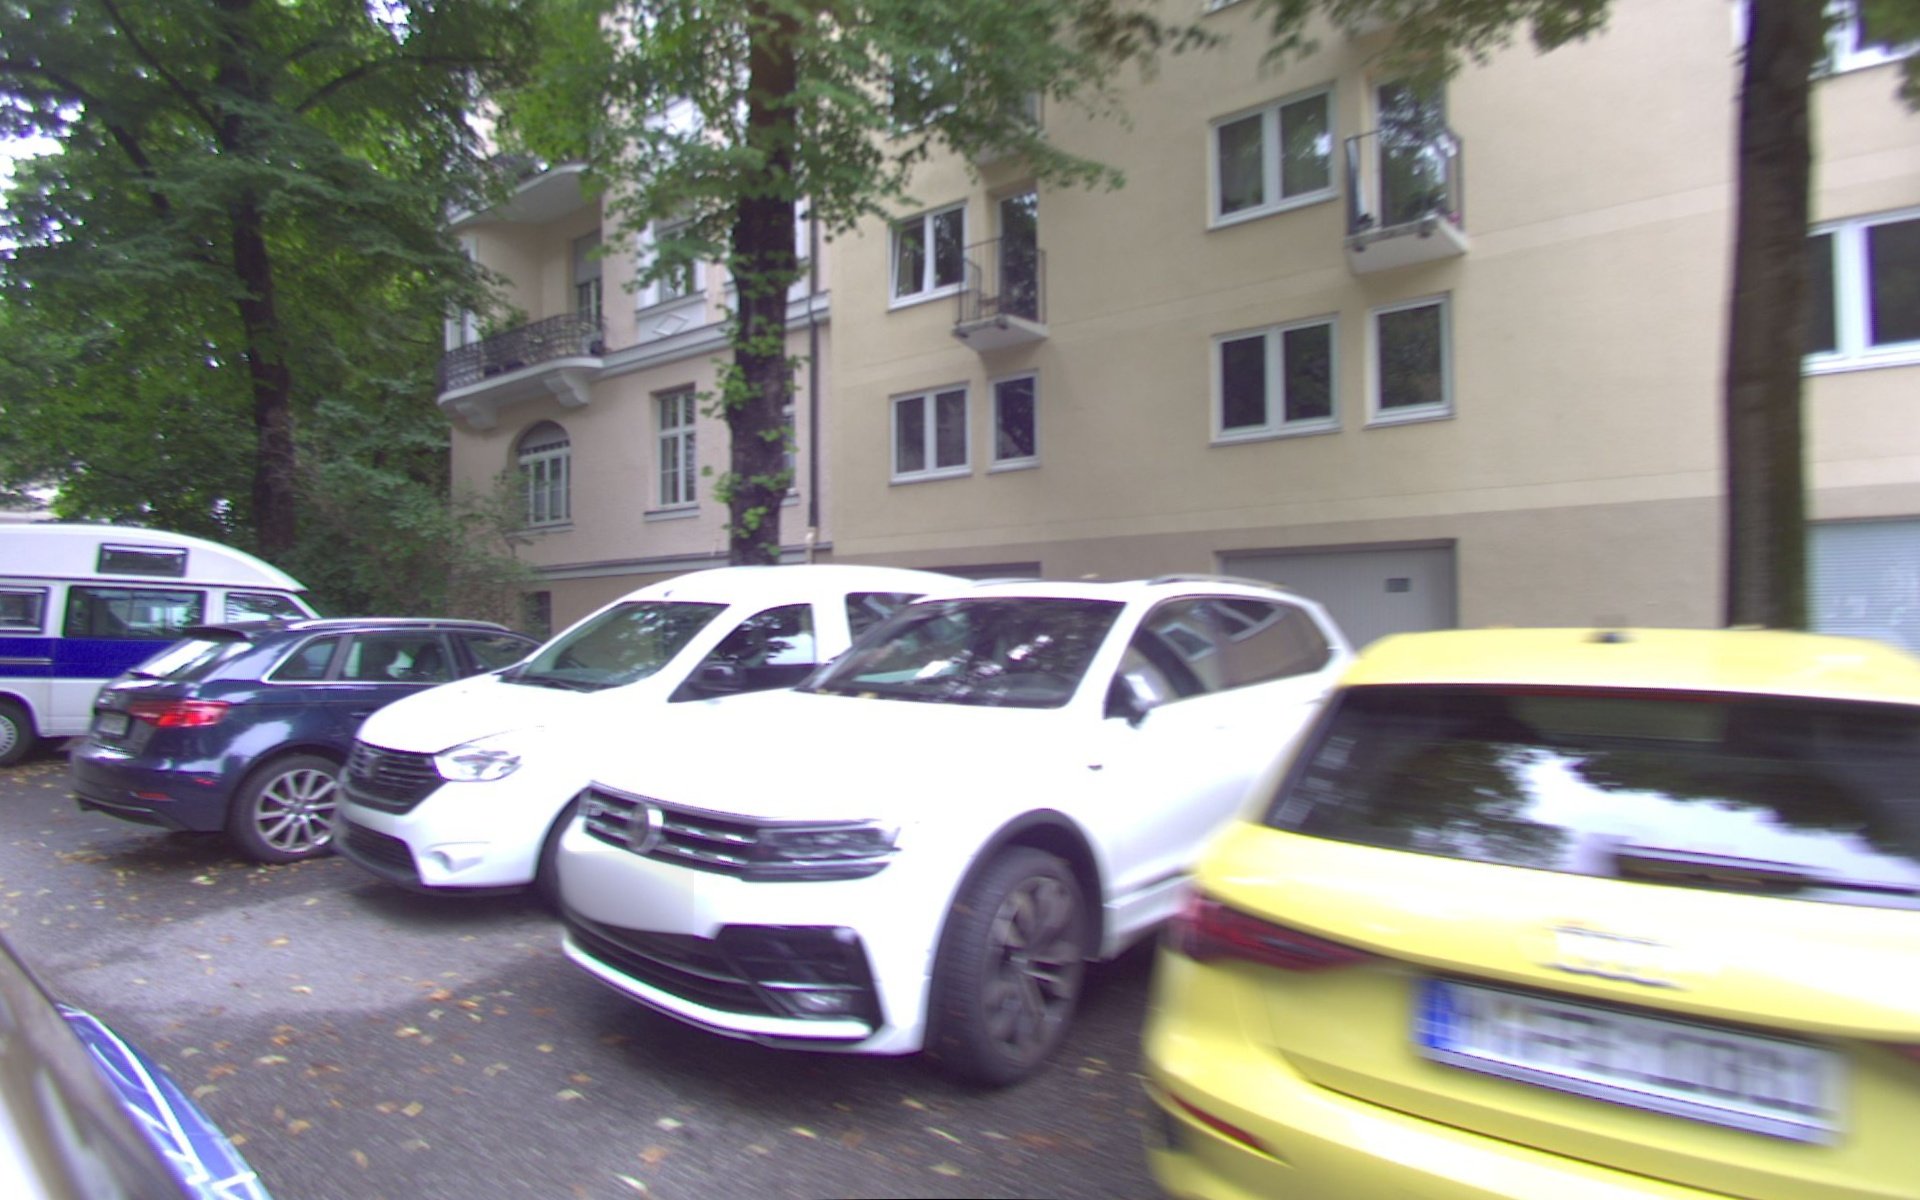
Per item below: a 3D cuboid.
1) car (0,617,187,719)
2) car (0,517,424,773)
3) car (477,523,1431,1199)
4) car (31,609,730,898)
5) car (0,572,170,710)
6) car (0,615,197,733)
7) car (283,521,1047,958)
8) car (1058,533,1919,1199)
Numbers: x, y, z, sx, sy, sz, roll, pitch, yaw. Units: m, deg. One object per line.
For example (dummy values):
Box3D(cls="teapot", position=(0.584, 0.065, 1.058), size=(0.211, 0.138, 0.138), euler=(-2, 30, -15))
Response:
Box3D(cls="car", position=(-15.075, 1.041, 16.144), size=(3.932, 1.548, 1.821), euler=(1, -2, -14))
Box3D(cls="car", position=(-8.355, 0.463, 10.913), size=(4.504, 2.396, 1.911), euler=(1, -2, -28))
Box3D(cls="car", position=(0.451, 0.654, 4.571), size=(1.835, 1.609, 4.401), euler=(-2, -1, 42))
Box3D(cls="car", position=(-3.737, 0.832, 7.186), size=(1.732, 1.444, 3.951), euler=(-2, -2, 36))
Box3D(cls="car", position=(-17.786, 0.690, 18.011), size=(5.401, 2.372, 2.072), euler=(2, -2, -17))
Box3D(cls="car", position=(-13.364, 0.999, 14.248), size=(3.800, 1.572, 1.822), euler=(1, -2, -22))
Box3D(cls="car", position=(-1.438, 0.621, 6.297), size=(1.847, 1.744, 4.269), euler=(-2, -2, 40))
Box3D(cls="car", position=(1.993, 0.700, 2.886), size=(1.737, 1.452, 3.845), euler=(-2, -2, 35))
